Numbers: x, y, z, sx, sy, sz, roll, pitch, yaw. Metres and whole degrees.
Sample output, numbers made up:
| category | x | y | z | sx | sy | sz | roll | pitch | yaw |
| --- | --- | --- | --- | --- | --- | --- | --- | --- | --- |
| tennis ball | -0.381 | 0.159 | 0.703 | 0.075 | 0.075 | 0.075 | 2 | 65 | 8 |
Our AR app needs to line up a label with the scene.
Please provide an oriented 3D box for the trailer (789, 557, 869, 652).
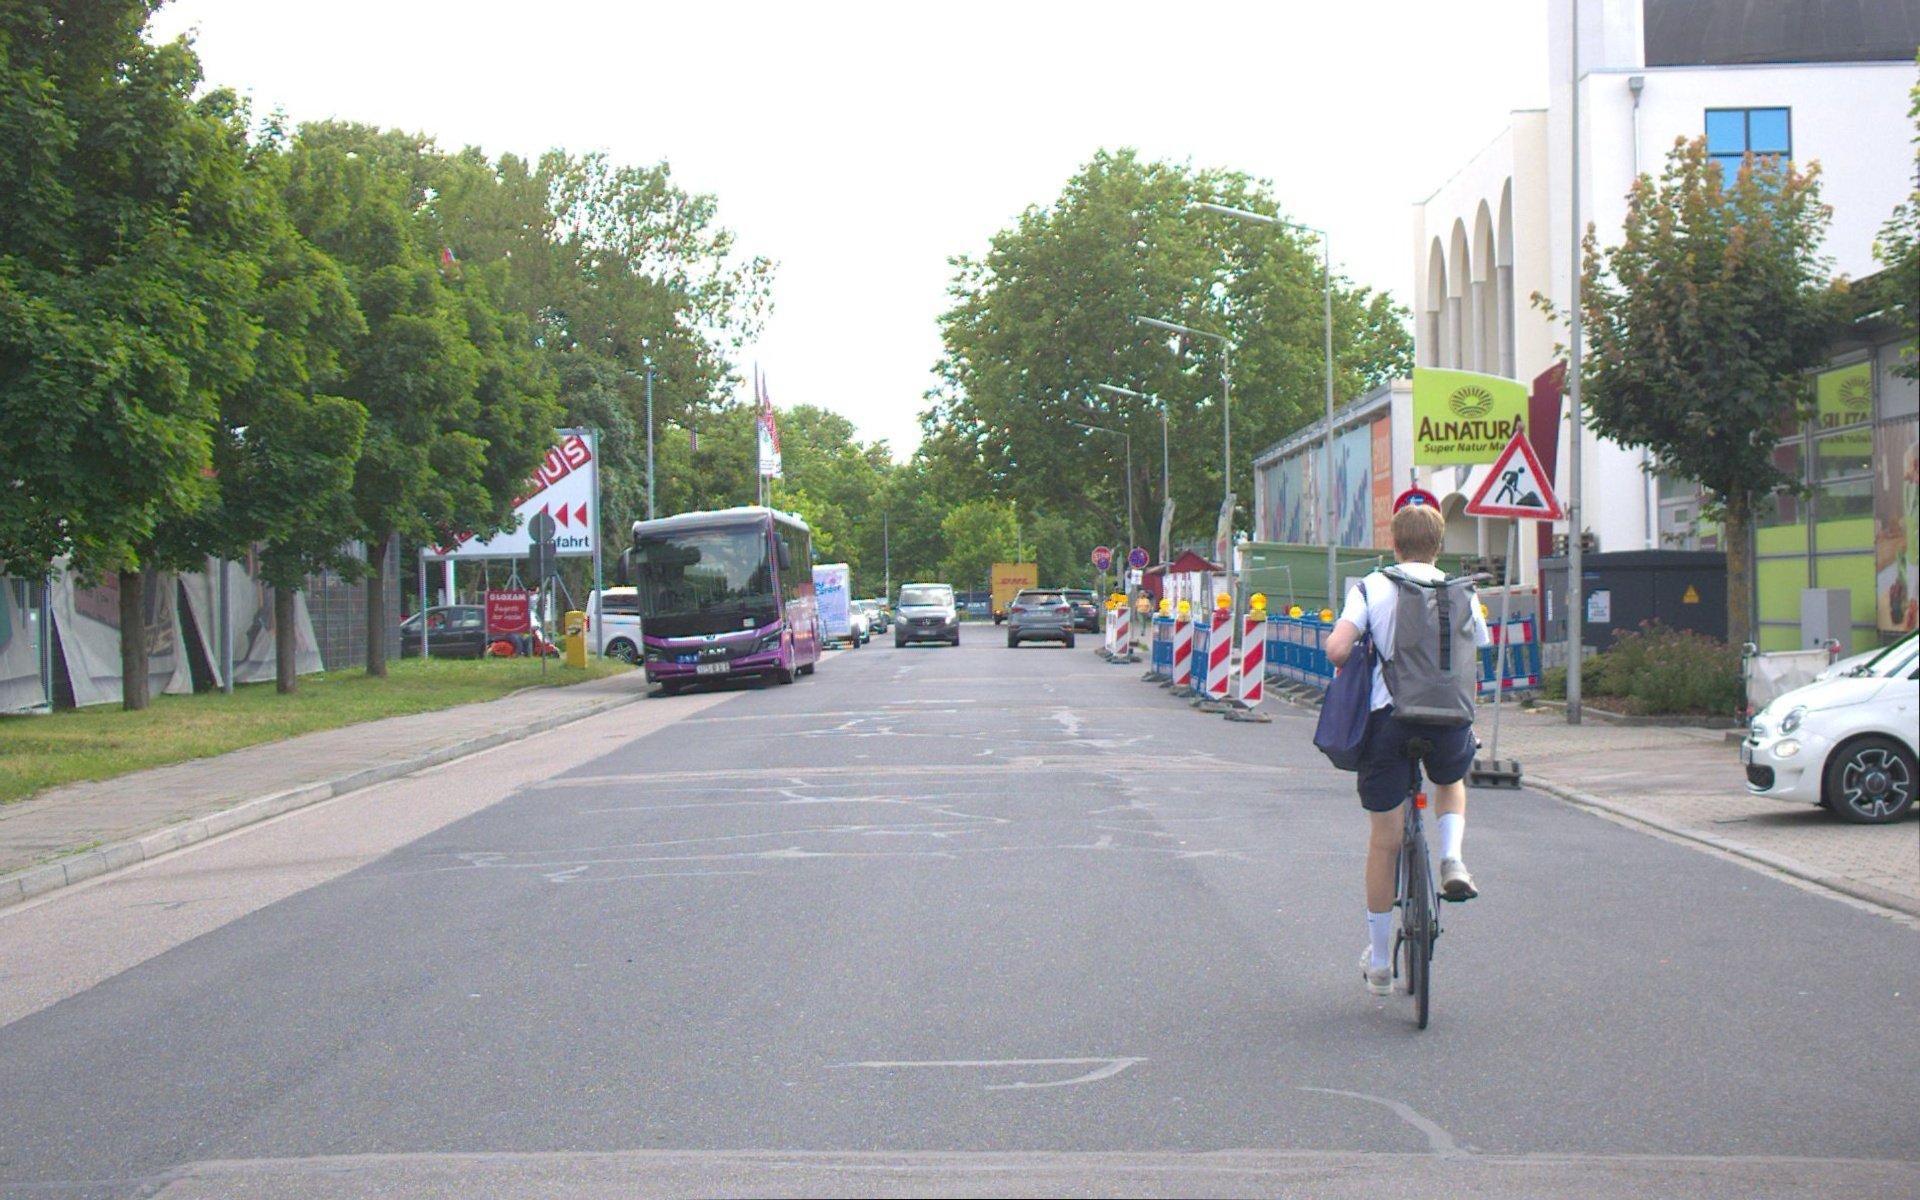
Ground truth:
| category | x | y | z | sx | sy | sz | roll | pitch | yaw |
| --- | --- | --- | --- | --- | --- | --- | --- | --- | --- |
| trailer | -4.054 | 0.135 | 107.251 | 2.139 | 2.774 | 4.703 | -3 | 0 | 0 |

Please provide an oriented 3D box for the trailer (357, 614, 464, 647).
| category | x | y | z | sx | sy | sz | roll | pitch | yaw |
| --- | --- | --- | --- | --- | --- | --- | --- | --- | --- |
| trailer | -21.654 | 1.211 | 135.452 | 3.818 | 1.187 | 1.714 | -1 | 0 | 7 |

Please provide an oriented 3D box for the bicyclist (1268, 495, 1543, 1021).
| category | x | y | z | sx | sy | sz | roll | pitch | yaw |
| --- | --- | --- | --- | --- | --- | --- | --- | --- | --- |
| bicyclist | 1.579 | 0.543 | 12.370 | 0.806 | 1.786 | 1.207 | 1 | 0 | 0 |

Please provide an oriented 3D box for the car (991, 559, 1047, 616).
| category | x | y | z | sx | sy | sz | roll | pitch | yaw |
| --- | --- | --- | --- | --- | --- | --- | --- | --- | --- |
| car | 2.758 | -0.603 | 162.548 | 2.198 | 2.569 | 6.405 | -1 | 0 | -2 |

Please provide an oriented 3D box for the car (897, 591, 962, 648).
| category | x | y | z | sx | sy | sz | roll | pitch | yaw |
| --- | --- | --- | --- | --- | --- | --- | --- | --- | --- |
| car | -0.912 | 0.559 | 103.220 | 1.868 | 1.624 | 4.127 | -1 | 0 | 0 |

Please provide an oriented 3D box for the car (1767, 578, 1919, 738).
| category | x | y | z | sx | sy | sz | roll | pitch | yaw |
| --- | --- | --- | --- | --- | --- | --- | --- | --- | --- |
| car | 10.203 | 0.486 | 33.509 | 4.102 | 1.458 | 1.990 | -2 | 0 | -2 |

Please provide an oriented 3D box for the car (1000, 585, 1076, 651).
| category | x | y | z | sx | sy | sz | roll | pitch | yaw |
| --- | --- | --- | --- | --- | --- | --- | --- | --- | --- |
| car | 2.203 | 0.497 | 98.252 | 1.962 | 1.809 | 4.275 | -1 | 0 | -1 |

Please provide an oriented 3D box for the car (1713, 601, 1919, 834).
| category | x | y | z | sx | sy | sz | roll | pitch | yaw |
| --- | --- | --- | --- | --- | --- | --- | --- | --- | --- |
| car | 7.078 | 0.728 | 23.296 | 3.601 | 1.465 | 1.688 | -2 | 0 | 5 |

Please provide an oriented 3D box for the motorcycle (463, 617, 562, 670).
| category | x | y | z | sx | sy | sz | roll | pitch | yaw |
| --- | --- | --- | --- | --- | --- | --- | --- | --- | --- |
| motorcycle | -10.936 | 1.065 | 84.073 | 2.221 | 1.209 | 0.994 | -2 | 0 | 2 |

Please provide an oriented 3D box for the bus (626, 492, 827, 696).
| category | x | y | z | sx | sy | sz | roll | pitch | yaw |
| --- | --- | --- | --- | --- | --- | --- | --- | --- | --- |
| bus | -4.391 | -0.104 | 67.493 | 2.663 | 3.411 | 13.218 | -5 | 0 | 1 |

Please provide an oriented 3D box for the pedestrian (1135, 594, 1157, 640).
| category | x | y | z | sx | sy | sz | roll | pitch | yaw |
| --- | --- | --- | --- | --- | --- | --- | --- | --- | --- |
| pedestrian | 6.325 | 0.577 | 117.124 | 0.681 | 1.528 | 1.130 | -1 | 0 | 1 |

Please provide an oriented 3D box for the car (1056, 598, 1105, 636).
| category | x | y | z | sx | sy | sz | roll | pitch | yaw |
| --- | --- | --- | --- | --- | --- | --- | --- | --- | --- |
| car | 4.649 | 0.634 | 132.763 | 1.808 | 1.386 | 4.587 | 1 | 0 | 2 |

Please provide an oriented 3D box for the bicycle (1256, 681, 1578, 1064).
| category | x | y | z | sx | sy | sz | roll | pitch | yaw |
| --- | --- | --- | --- | --- | --- | --- | --- | --- | --- |
| bicycle | 1.587 | 0.909 | 12.400 | 0.798 | 1.176 | 2.627 | 0 | 0 | 0 |

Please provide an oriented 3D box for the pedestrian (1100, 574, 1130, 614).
| category | x | y | z | sx | sy | sz | roll | pitch | yaw |
| --- | --- | --- | --- | --- | --- | --- | --- | --- | --- |
| pedestrian | 7.129 | -0.283 | 158.525 | 1.000 | 1.843 | 1.229 | -1 | -1 | -17 |

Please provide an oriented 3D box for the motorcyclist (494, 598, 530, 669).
| category | x | y | z | sx | sy | sz | roll | pitch | yaw |
| --- | --- | --- | --- | --- | --- | --- | --- | --- | --- |
| motorcyclist | -10.953 | 0.807 | 84.079 | 0.674 | 1.717 | 0.994 | -2 | 0 | 2 |

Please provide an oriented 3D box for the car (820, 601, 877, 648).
| category | x | y | z | sx | sy | sz | roll | pitch | yaw |
| --- | --- | --- | --- | --- | --- | --- | --- | --- | --- |
| car | -3.801 | 0.819 | 118.008 | 1.765 | 1.474 | 4.235 | -4 | 0 | 0 |

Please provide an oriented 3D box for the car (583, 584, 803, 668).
| category | x | y | z | sx | sy | sz | roll | pitch | yaw |
| --- | --- | --- | --- | --- | --- | --- | --- | --- | --- |
| car | -6.475 | 0.622 | 83.655 | 5.001 | 1.942 | 1.992 | -1 | 0 | 7 |
